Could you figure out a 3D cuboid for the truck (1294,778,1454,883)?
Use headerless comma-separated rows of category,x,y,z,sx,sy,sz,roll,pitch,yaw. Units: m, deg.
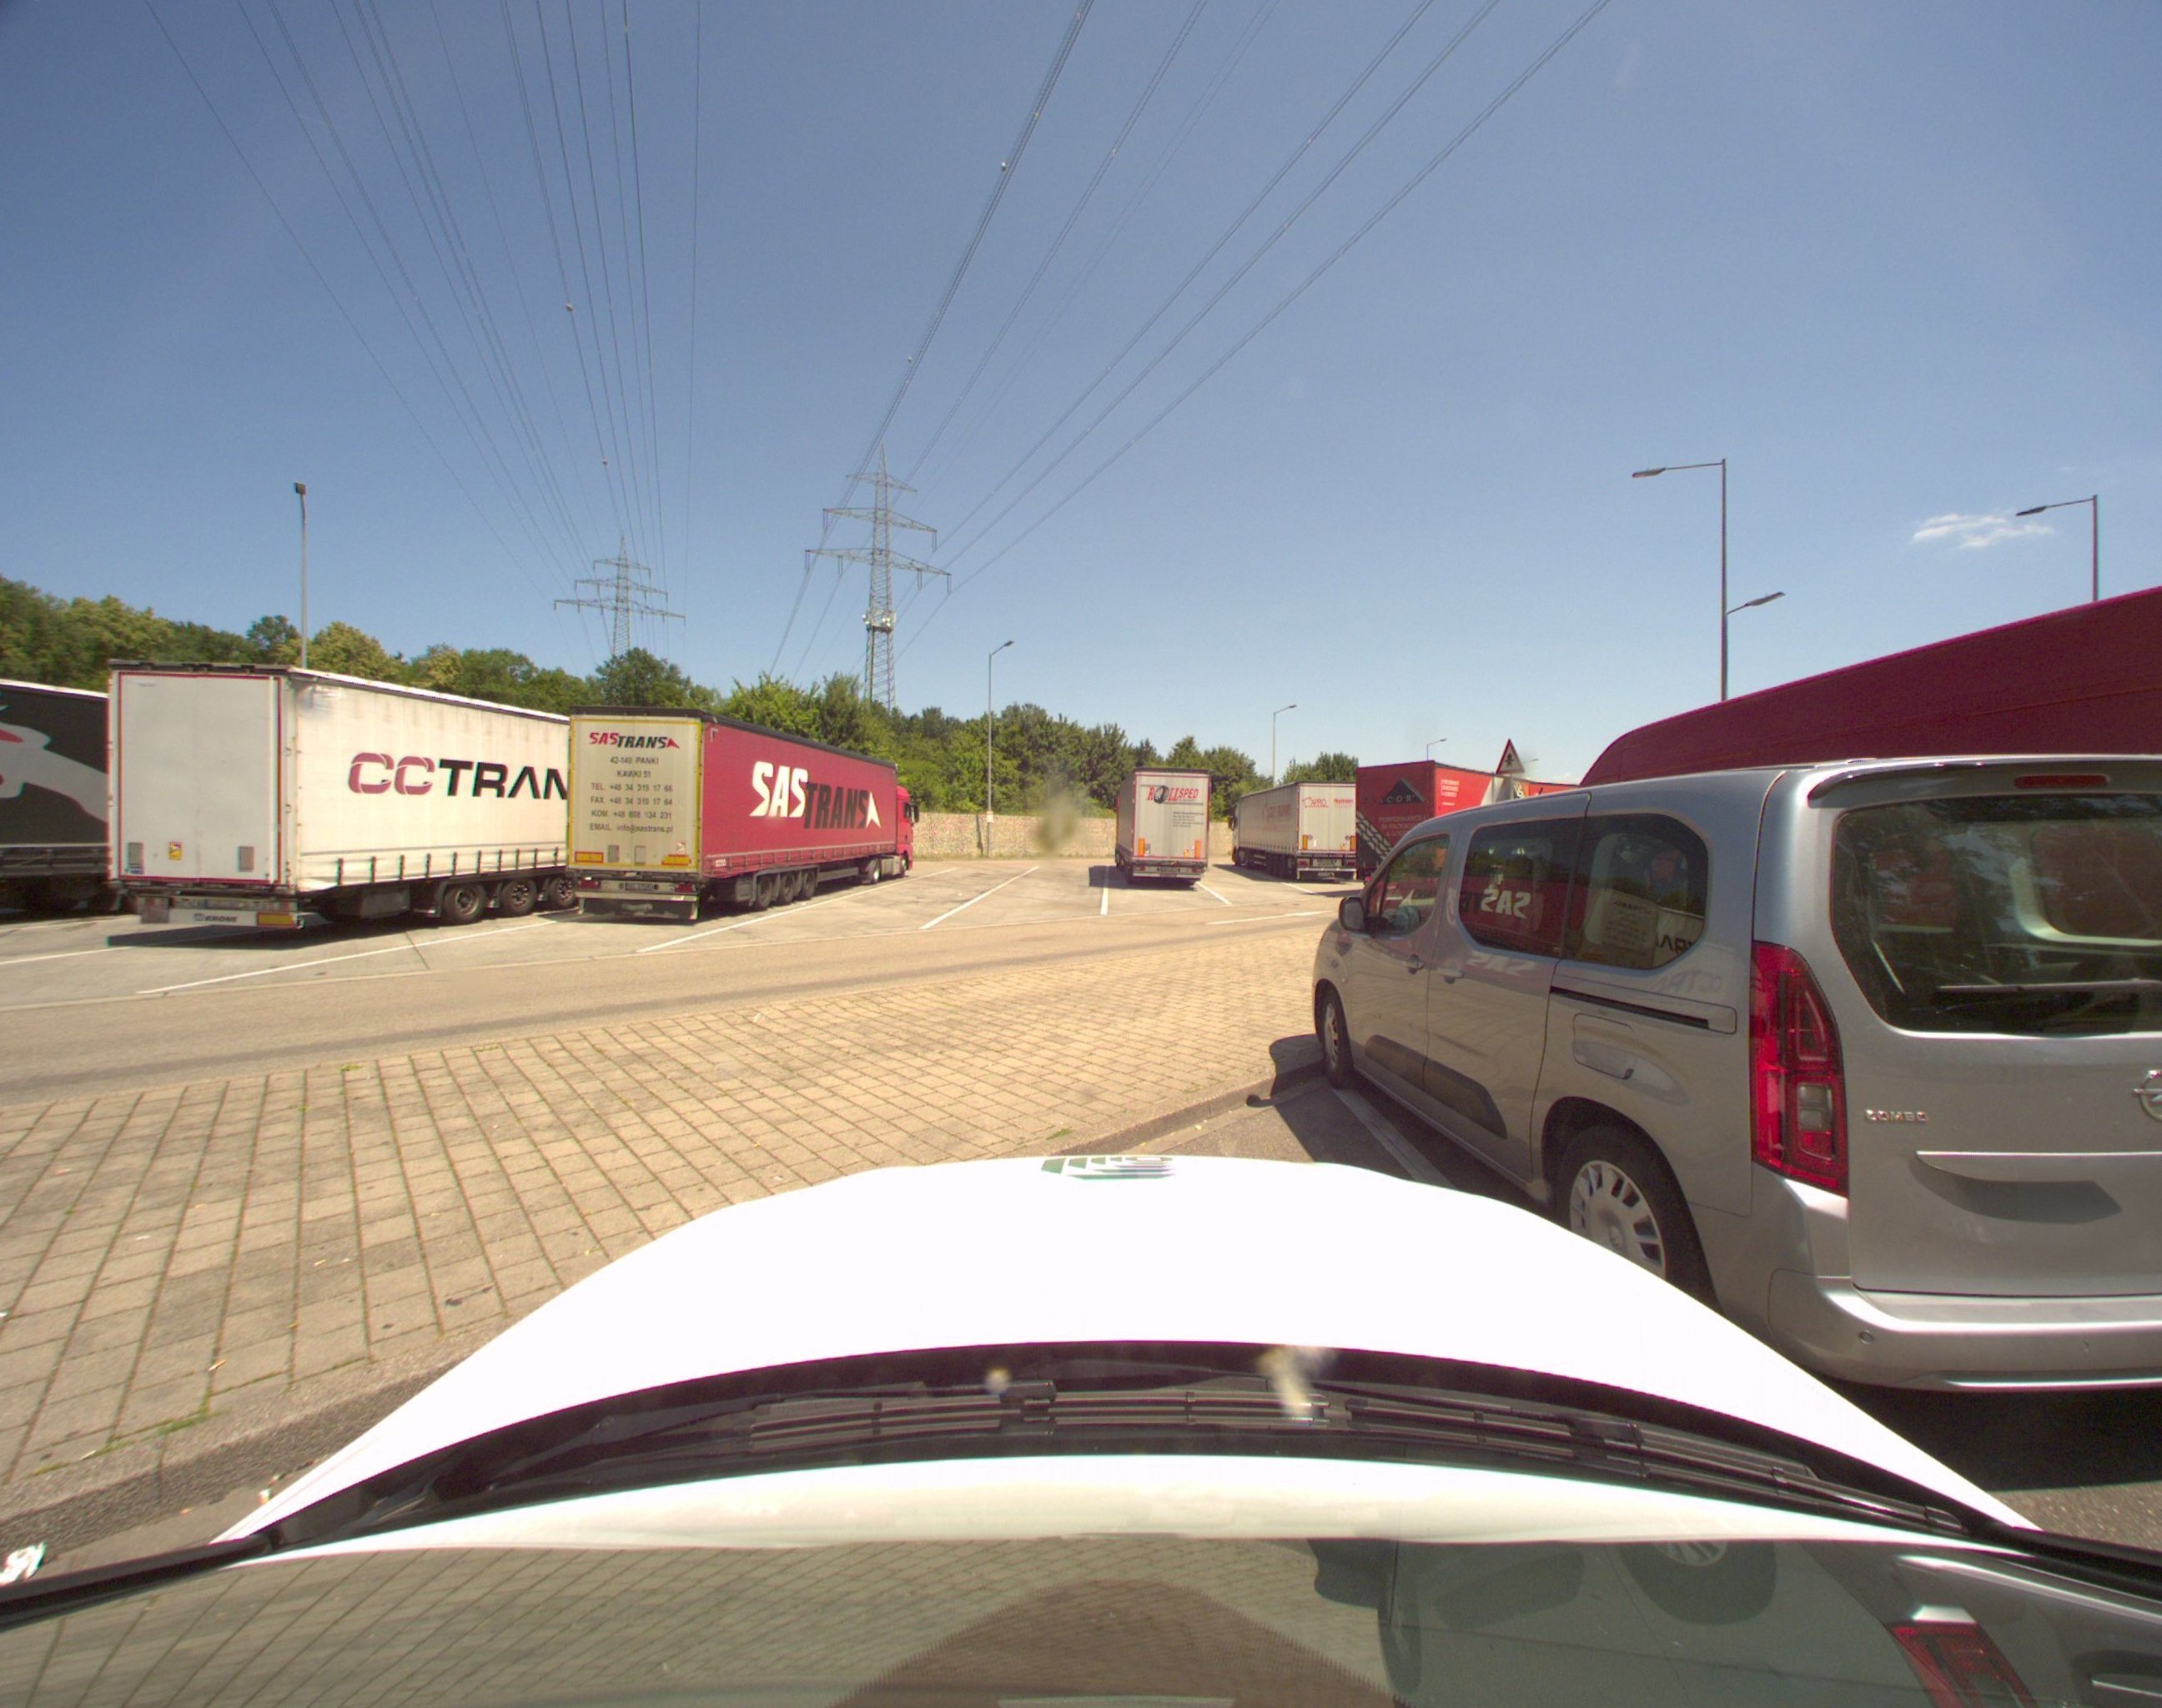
truck,13.565,-1.060,39.672,2.894,4.124,14.533,2,1,2

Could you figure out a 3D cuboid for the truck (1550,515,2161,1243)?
truck,5.097,0.051,4.889,1.983,2.623,5.312,-1,1,6

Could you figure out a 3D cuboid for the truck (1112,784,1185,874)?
truck,3.117,-1.224,39.527,3.016,3.928,6.848,1,2,1

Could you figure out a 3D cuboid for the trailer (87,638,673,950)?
trailer,-12.105,-0.897,16.085,2.734,4.263,9.740,0,1,3

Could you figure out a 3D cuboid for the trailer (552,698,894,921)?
trailer,-8.054,-0.919,21.504,2.739,4.057,13.292,-1,1,2

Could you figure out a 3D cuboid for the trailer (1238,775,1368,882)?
trailer,9.930,-1.106,38.427,2.865,4.124,13.577,0,1,2

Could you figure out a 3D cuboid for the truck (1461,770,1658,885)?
truck,19.797,-1.062,33.293,10.648,4.127,2.665,-1,1,-35

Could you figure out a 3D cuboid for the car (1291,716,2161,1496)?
car,2.467,0.530,3.867,1.821,1.753,3.998,-1,1,-2

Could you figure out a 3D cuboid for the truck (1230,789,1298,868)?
truck,10.116,-1.397,45.430,2.747,4.124,5.286,-1,1,2

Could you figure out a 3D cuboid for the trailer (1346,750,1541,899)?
trailer,12.408,-0.935,27.360,8.734,4.257,2.809,-1,1,-43

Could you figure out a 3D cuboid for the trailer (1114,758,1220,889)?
trailer,3.036,-1.190,32.755,3.059,4.227,12.811,1,2,1

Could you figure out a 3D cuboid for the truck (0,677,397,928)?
truck,-18.517,-0.858,15.977,2.627,4.018,8.640,-1,1,2

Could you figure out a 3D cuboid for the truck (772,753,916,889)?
truck,-7.847,-1.053,28.029,2.733,4.081,6.832,-1,1,1
